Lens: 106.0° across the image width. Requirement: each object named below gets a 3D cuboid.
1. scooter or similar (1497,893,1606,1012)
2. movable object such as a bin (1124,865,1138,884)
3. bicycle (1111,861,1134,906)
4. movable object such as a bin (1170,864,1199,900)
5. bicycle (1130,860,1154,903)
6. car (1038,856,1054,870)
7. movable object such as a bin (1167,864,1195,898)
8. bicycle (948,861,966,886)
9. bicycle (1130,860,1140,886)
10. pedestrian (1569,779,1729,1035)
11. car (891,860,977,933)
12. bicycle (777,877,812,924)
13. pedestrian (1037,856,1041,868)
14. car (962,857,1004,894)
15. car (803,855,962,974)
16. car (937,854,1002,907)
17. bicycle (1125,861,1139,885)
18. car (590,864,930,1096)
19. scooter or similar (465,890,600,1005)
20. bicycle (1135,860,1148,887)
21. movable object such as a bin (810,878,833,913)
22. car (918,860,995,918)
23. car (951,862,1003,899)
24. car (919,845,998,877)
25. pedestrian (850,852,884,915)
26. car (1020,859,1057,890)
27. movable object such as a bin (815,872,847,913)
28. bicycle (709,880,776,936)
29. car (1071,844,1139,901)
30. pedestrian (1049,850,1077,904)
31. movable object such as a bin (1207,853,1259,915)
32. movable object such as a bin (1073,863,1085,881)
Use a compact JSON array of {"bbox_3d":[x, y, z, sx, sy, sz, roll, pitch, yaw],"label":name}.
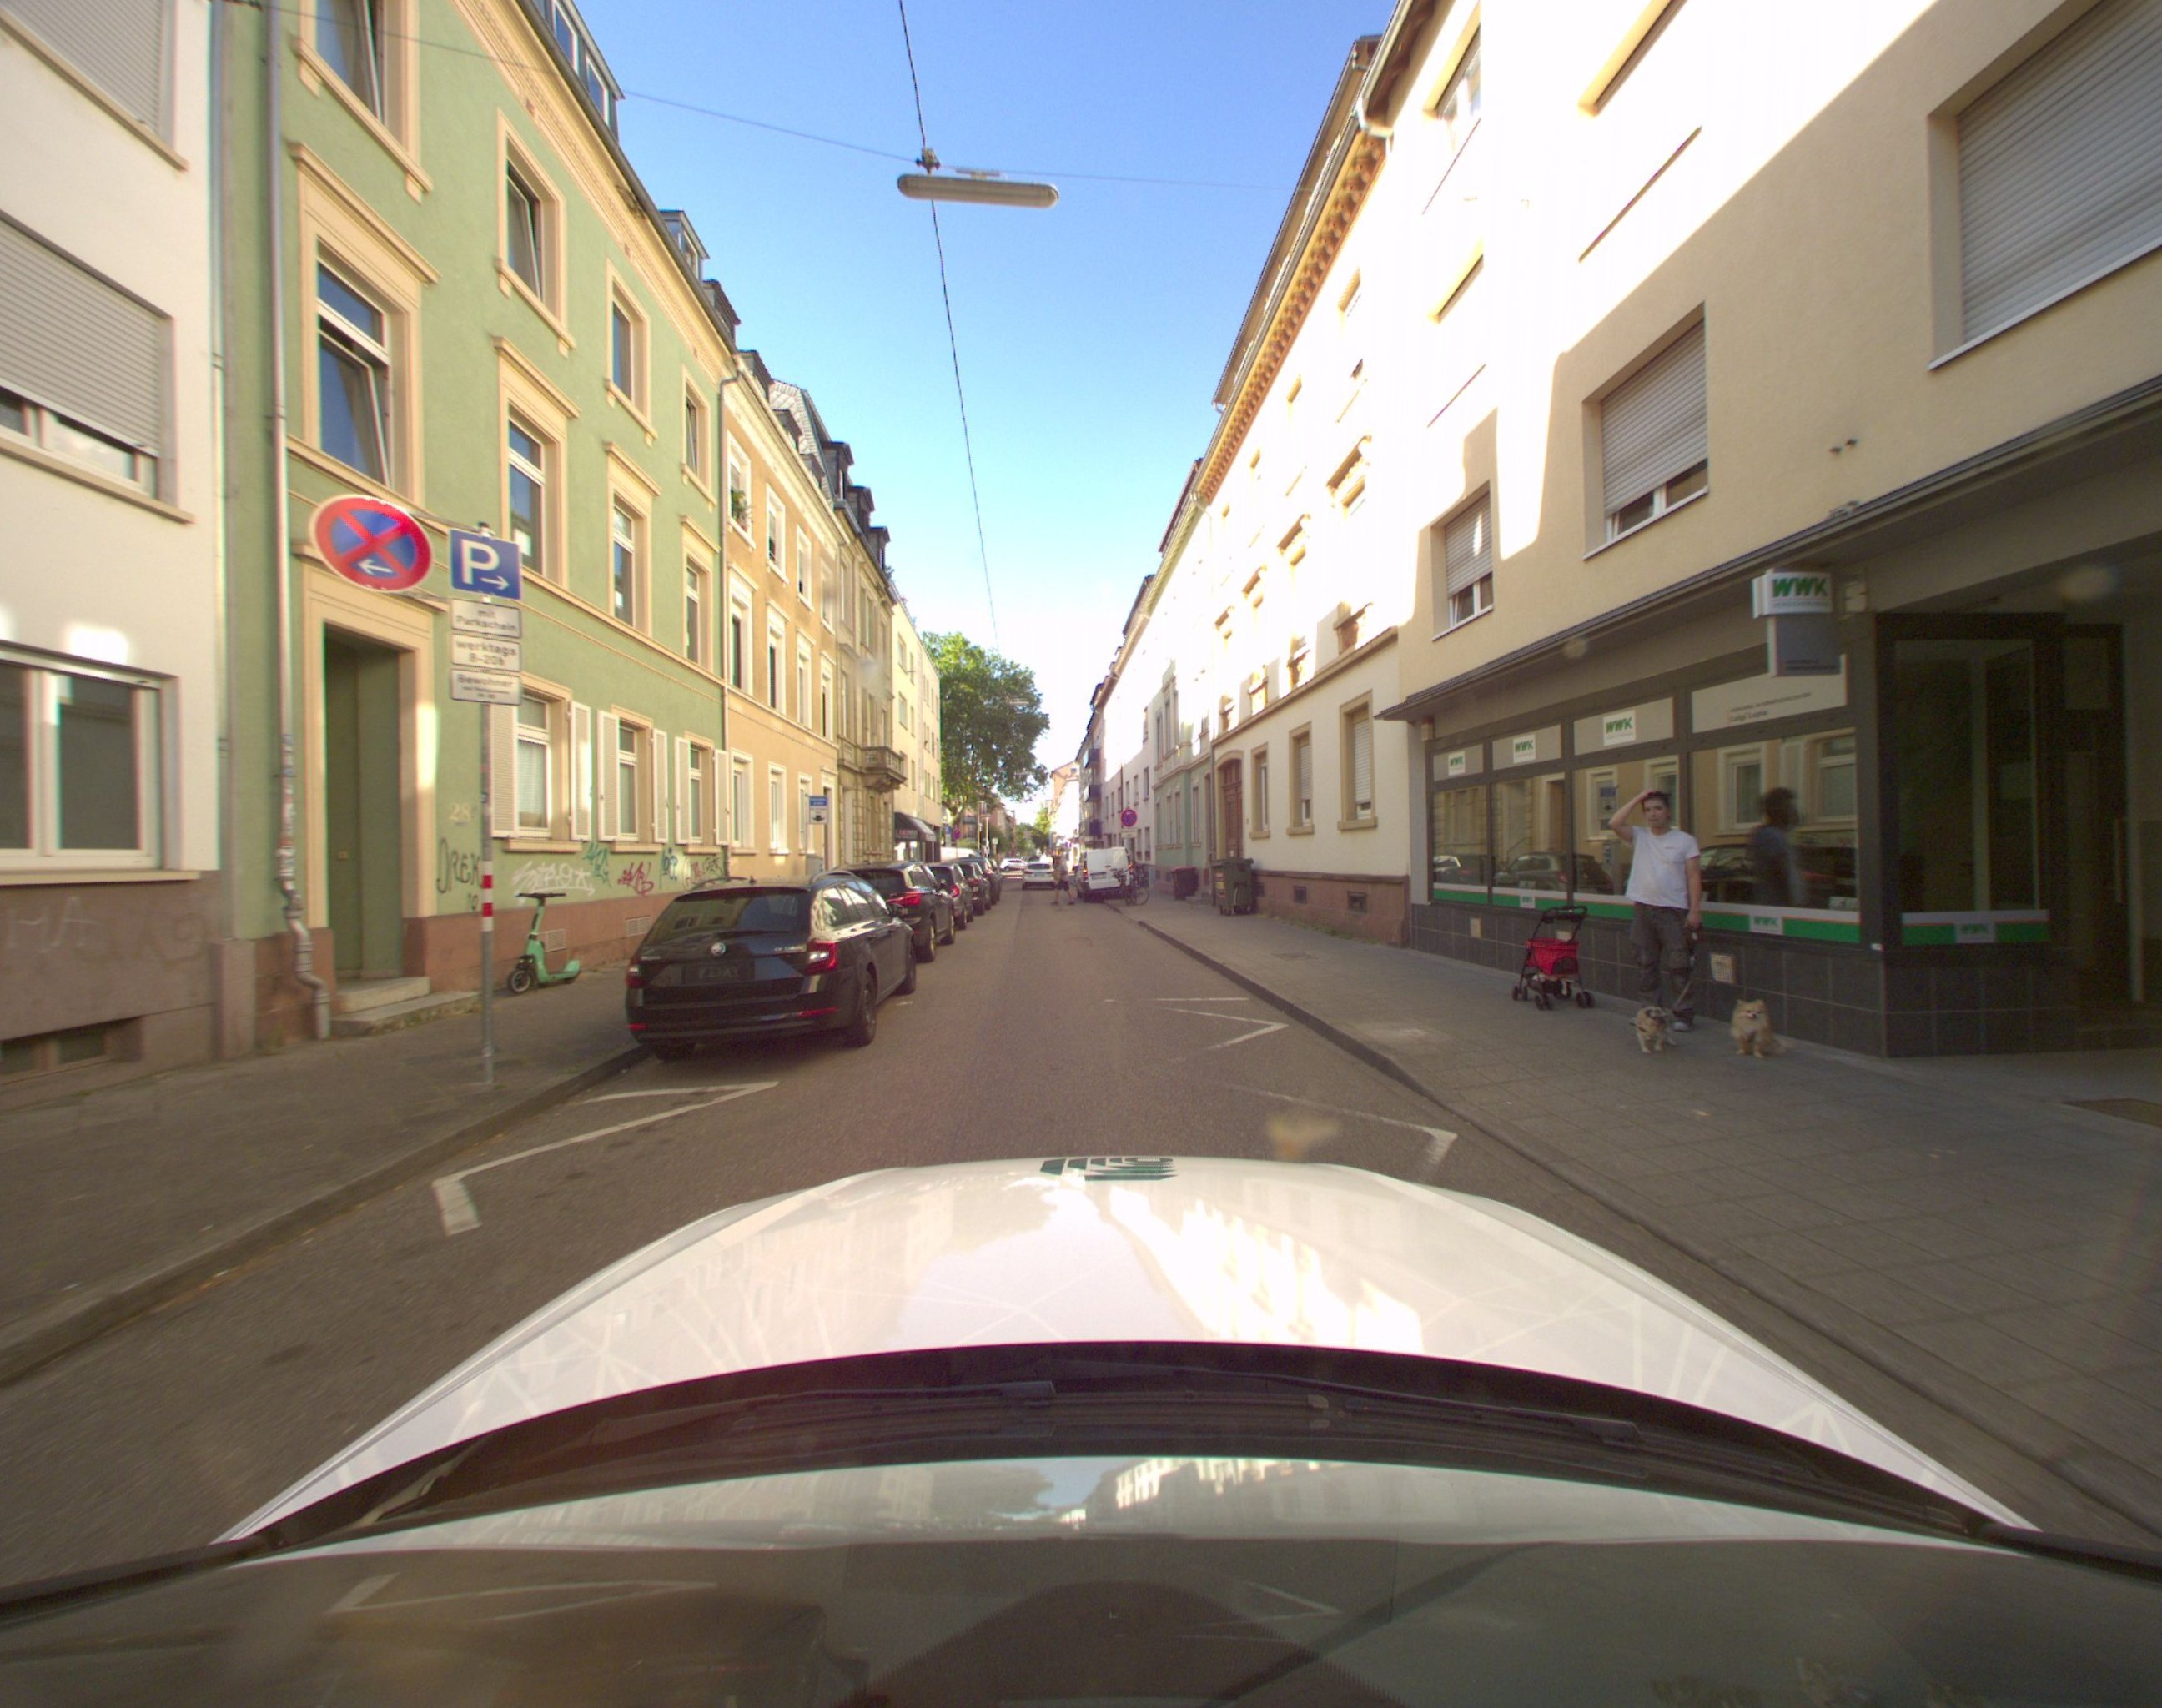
[{"bbox_3d":[4.231,0.862,7.379,0.488,0.944,0.869,-2,0,3],"label":"scooter or similar"},{"bbox_3d":[2.536,1.053,41.275,0.576,0.924,0.607,-4,-1,-4],"label":"movable object such as a bin"},{"bbox_3d":[1.308,0.898,25.803,0.573,1.320,2.199,-2,0,0],"label":"bicycle"},{"bbox_3d":[3.312,0.890,26.121,0.795,1.096,0.641,-1,-1,-2],"label":"movable object such as a bin"},{"bbox_3d":[1.939,0.857,26.170,0.573,1.271,2.199,-3,0,1],"label":"bicycle"},{"bbox_3d":[-4.940,1.255,114.144,1.940,1.948,4.069,0,-1,-6],"label":"car"},{"bbox_3d":[3.296,0.882,26.792,0.810,1.088,0.673,-1,-1,-2],"label":"movable object such as a bin"},{"bbox_3d":[-6.849,1.101,44.983,0.463,1.332,1.856,3,-2,5],"label":"bicycle"},{"bbox_3d":[2.582,0.904,38.920,0.436,1.206,2.268,-1,-1,3],"label":"bicycle"},{"bbox_3d":[4.469,0.382,6.436,0.651,1.860,0.742,-3,0,-25],"label":"pedestrian"},{"bbox_3d":[-3.475,0.938,19.802,1.612,1.554,3.971,-1,0,-4],"label":"car"},{"bbox_3d":[-6.986,1.109,19.906,0.401,1.056,1.832,-1,-1,-6],"label":"bicycle"},{"bbox_3d":[-7.438,1.389,143.993,0.769,2.118,0.834,-1,-1,-3],"label":"pedestrian"},{"bbox_3d":[-4.897,1.026,41.191,1.779,1.667,4.664,-2,0,-3],"label":"car"},{"bbox_3d":[-3.188,0.872,14.020,1.740,1.615,4.598,-2,0,-3],"label":"car"},{"bbox_3d":[-4.013,0.910,30.062,1.932,1.736,5.135,-2,0,-3],"label":"car"},{"bbox_3d":[2.506,0.933,40.005,0.566,1.153,1.868,-1,-1,1],"label":"bicycle"},{"bbox_3d":[-2.706,0.913,8.187,1.710,1.488,4.844,-4,0,-4],"label":"car"},{"bbox_3d":[-6.391,1.041,9.592,0.452,1.181,1.690,-1,-1,-1],"label":"scooter or similar"},{"bbox_3d":[2.779,0.878,37.597,0.404,1.206,2.159,-1,-1,0],"label":"bicycle"},{"bbox_3d":[-7.164,1.154,22.494,0.472,0.937,0.560,1,-1,-6],"label":"movable object such as a bin"},{"bbox_3d":[-3.650,0.969,24.562,1.709,1.531,4.363,-2,0,-2],"label":"car"},{"bbox_3d":[-4.495,1.137,35.830,1.841,1.417,4.811,-3,-1,-3],"label":"car"},{"bbox_3d":[-11.051,0.652,73.692,6.722,2.555,2.144,2,-1,-2],"label":"car"},{"bbox_3d":[-5.960,0.810,22.710,0.763,1.714,0.882,0,0,-4],"label":"pedestrian"},{"bbox_3d":[-2.286,1.041,42.871,1.820,1.514,3.818,-1,0,-4],"label":"car"},{"bbox_3d":[-7.112,1.088,23.230,0.735,1.089,0.681,-1,1,-7],"label":"movable object such as a bin"},{"bbox_3d":[-6.850,1.068,16.562,0.359,1.028,1.920,-1,-1,6],"label":"bicycle"},{"bbox_3d":[0.820,0.668,31.740,1.979,1.883,5.592,-5,0,-4],"label":"car"},{"bbox_3d":[-0.613,0.785,27.989,0.864,1.836,0.882,-1,-1,-5],"label":"pedestrian"},{"bbox_3d":[3.628,0.723,19.543,0.836,1.389,1.295,-4,-2,-5],"label":"movable object such as a bin"},{"bbox_3d":[-0.144,1.132,51.638,0.730,1.081,0.703,-1,-1,-3],"label":"movable object such as a bin"}]
